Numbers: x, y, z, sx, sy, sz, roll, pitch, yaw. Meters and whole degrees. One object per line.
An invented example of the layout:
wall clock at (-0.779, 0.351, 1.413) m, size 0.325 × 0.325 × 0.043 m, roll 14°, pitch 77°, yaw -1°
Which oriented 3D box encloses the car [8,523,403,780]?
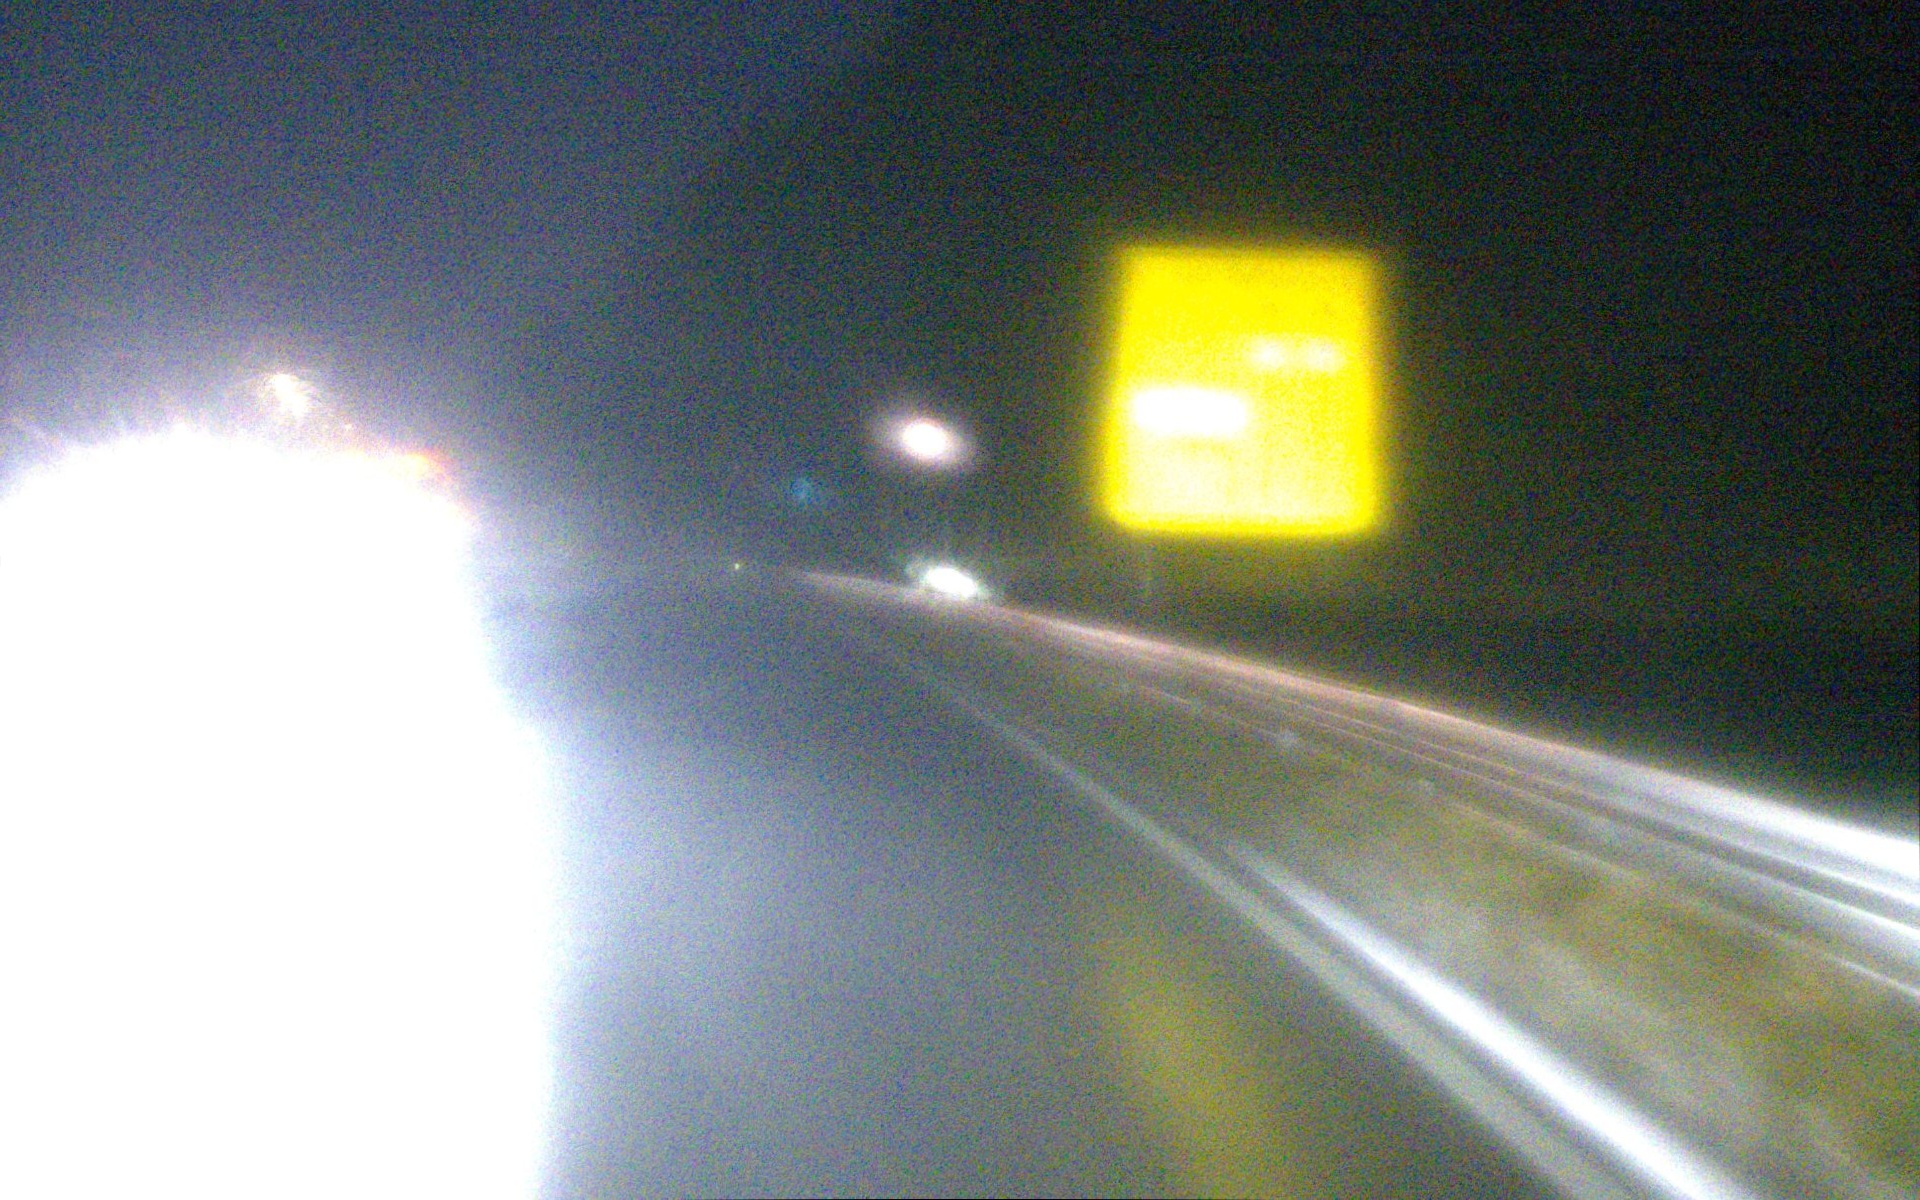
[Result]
car at (-5.141, 0.300, 24.059) m, size 1.993 × 1.608 × 4.612 m, roll 0°, pitch 1°, yaw -3°

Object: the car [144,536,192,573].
car at (-34.464, -1.972, 149.526) m, size 1.880 × 1.595 × 3.901 m, roll 0°, pitch 1°, yaw -15°
